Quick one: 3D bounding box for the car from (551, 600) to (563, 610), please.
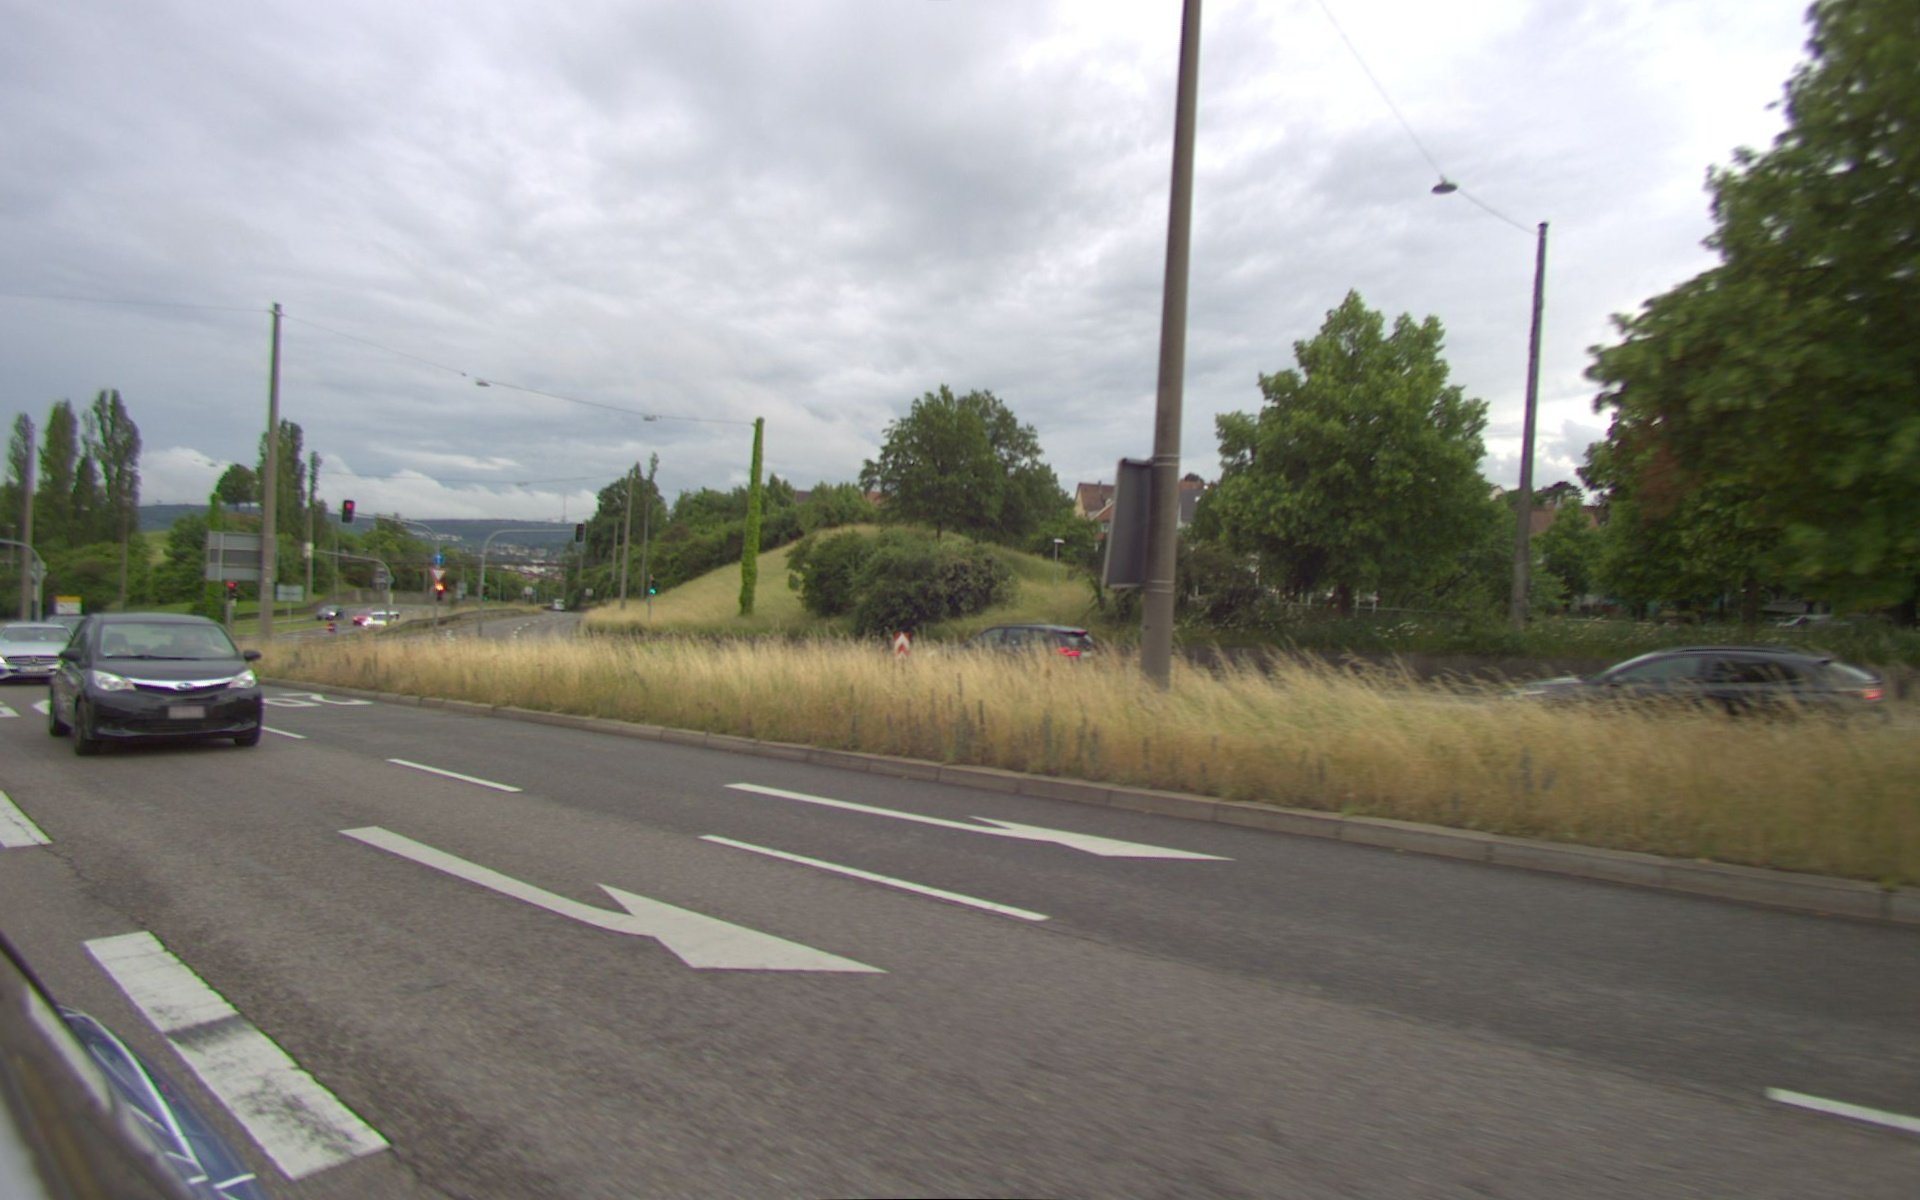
[{"bbox_3d":[-62.508,0.793,156.930,1.535,1.443,3.240,-1,1,-18],"label":"car"}]

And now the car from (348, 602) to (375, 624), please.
[{"bbox_3d":[-57.203,1.288,96.756,1.965,2.029,4.013,-1,-1,-28],"label":"car"}]

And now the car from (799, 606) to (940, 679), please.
[{"bbox_3d":[-2.793,1.256,30.909,3.994,2.029,1.975,0,-2,37],"label":"car"}]

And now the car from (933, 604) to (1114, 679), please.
[{"bbox_3d":[1.472,0.933,24.175,3.994,1.632,1.844,-1,-1,38],"label":"car"}]

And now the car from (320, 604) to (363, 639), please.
[{"bbox_3d":[-38.241,1.356,62.643,1.966,2.029,4.012,-2,-1,-28],"label":"car"}]

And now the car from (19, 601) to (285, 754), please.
[{"bbox_3d":[-9.978,0.868,12.401,4.040,1.577,1.777,-2,-3,40],"label":"car"}]

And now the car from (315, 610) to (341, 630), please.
[{"bbox_3d":[-66.603,2.150,106.666,1.965,2.029,4.013,1,-2,-27],"label":"car"}]

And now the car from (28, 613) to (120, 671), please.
[{"bbox_3d":[-28.777,1.311,32.997,1.897,1.748,4.035,0,-1,-36],"label":"car"}]

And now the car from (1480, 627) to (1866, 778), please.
[{"bbox_3d":[9.473,1.242,13.725,4.013,1.652,1.975,-1,0,38],"label":"car"}]

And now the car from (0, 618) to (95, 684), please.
[{"bbox_3d":[-22.298,1.156,24.195,4.525,1.419,1.971,0,-2,43],"label":"car"}]

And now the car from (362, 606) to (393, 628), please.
[{"bbox_3d":[-45.272,1.305,78.695,1.966,1.705,4.302,0,0,-29],"label":"car"}]
